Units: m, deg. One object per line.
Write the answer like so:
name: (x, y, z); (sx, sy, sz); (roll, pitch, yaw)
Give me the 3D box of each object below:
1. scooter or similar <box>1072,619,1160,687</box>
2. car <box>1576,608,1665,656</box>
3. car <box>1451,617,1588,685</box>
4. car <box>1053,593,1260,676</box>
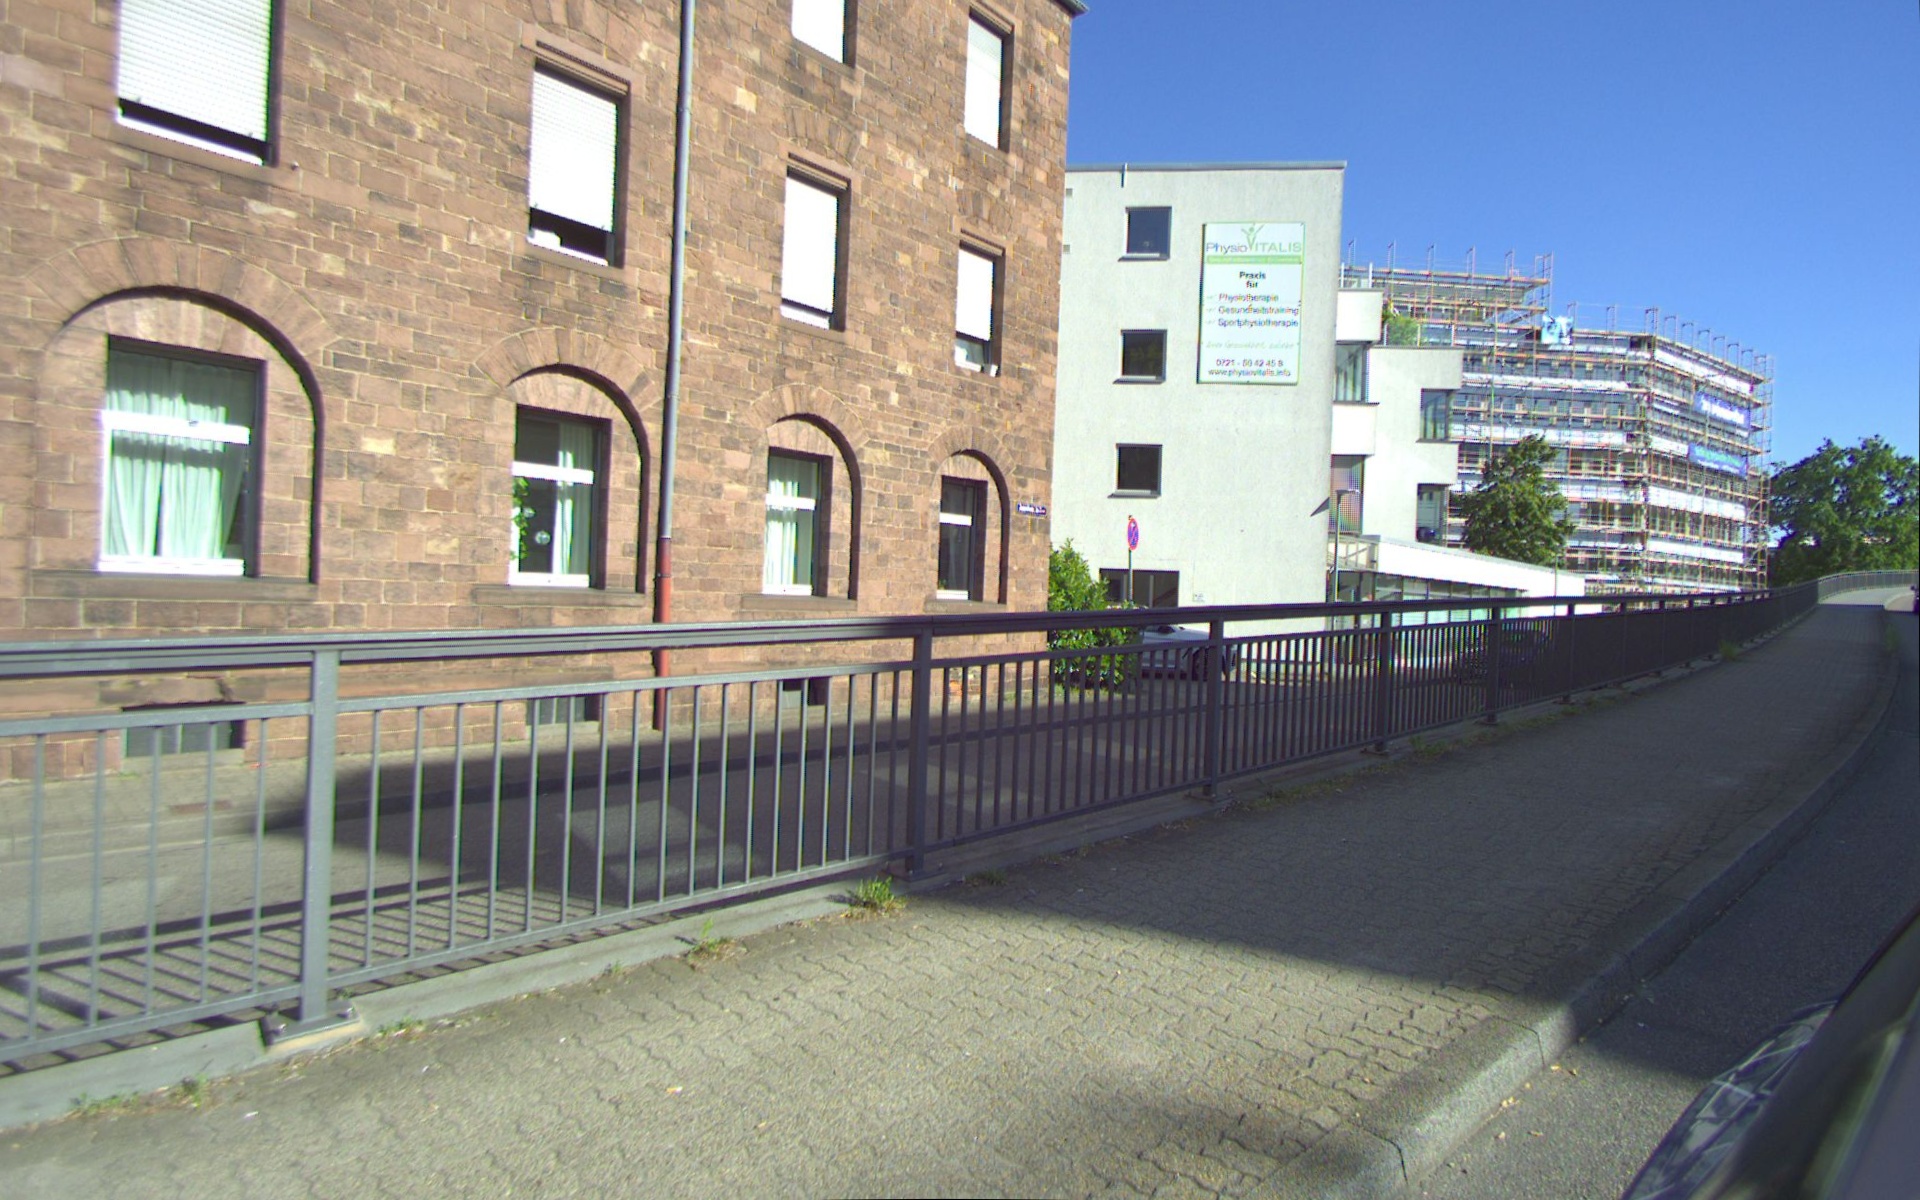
scooter or similar: (2.937, 0.977, 19.098); (1.455, 1.235, 0.774); (-1, -2, 40)
car: (24.025, 1.129, 36.762); (3.934, 1.554, 1.846); (1, 1, -44)
car: (14.756, 1.271, 26.575); (4.604, 1.448, 1.846); (-1, 2, -43)
car: (4.479, 0.759, 23.672); (4.568, 1.789, 1.826); (0, 1, 6)
